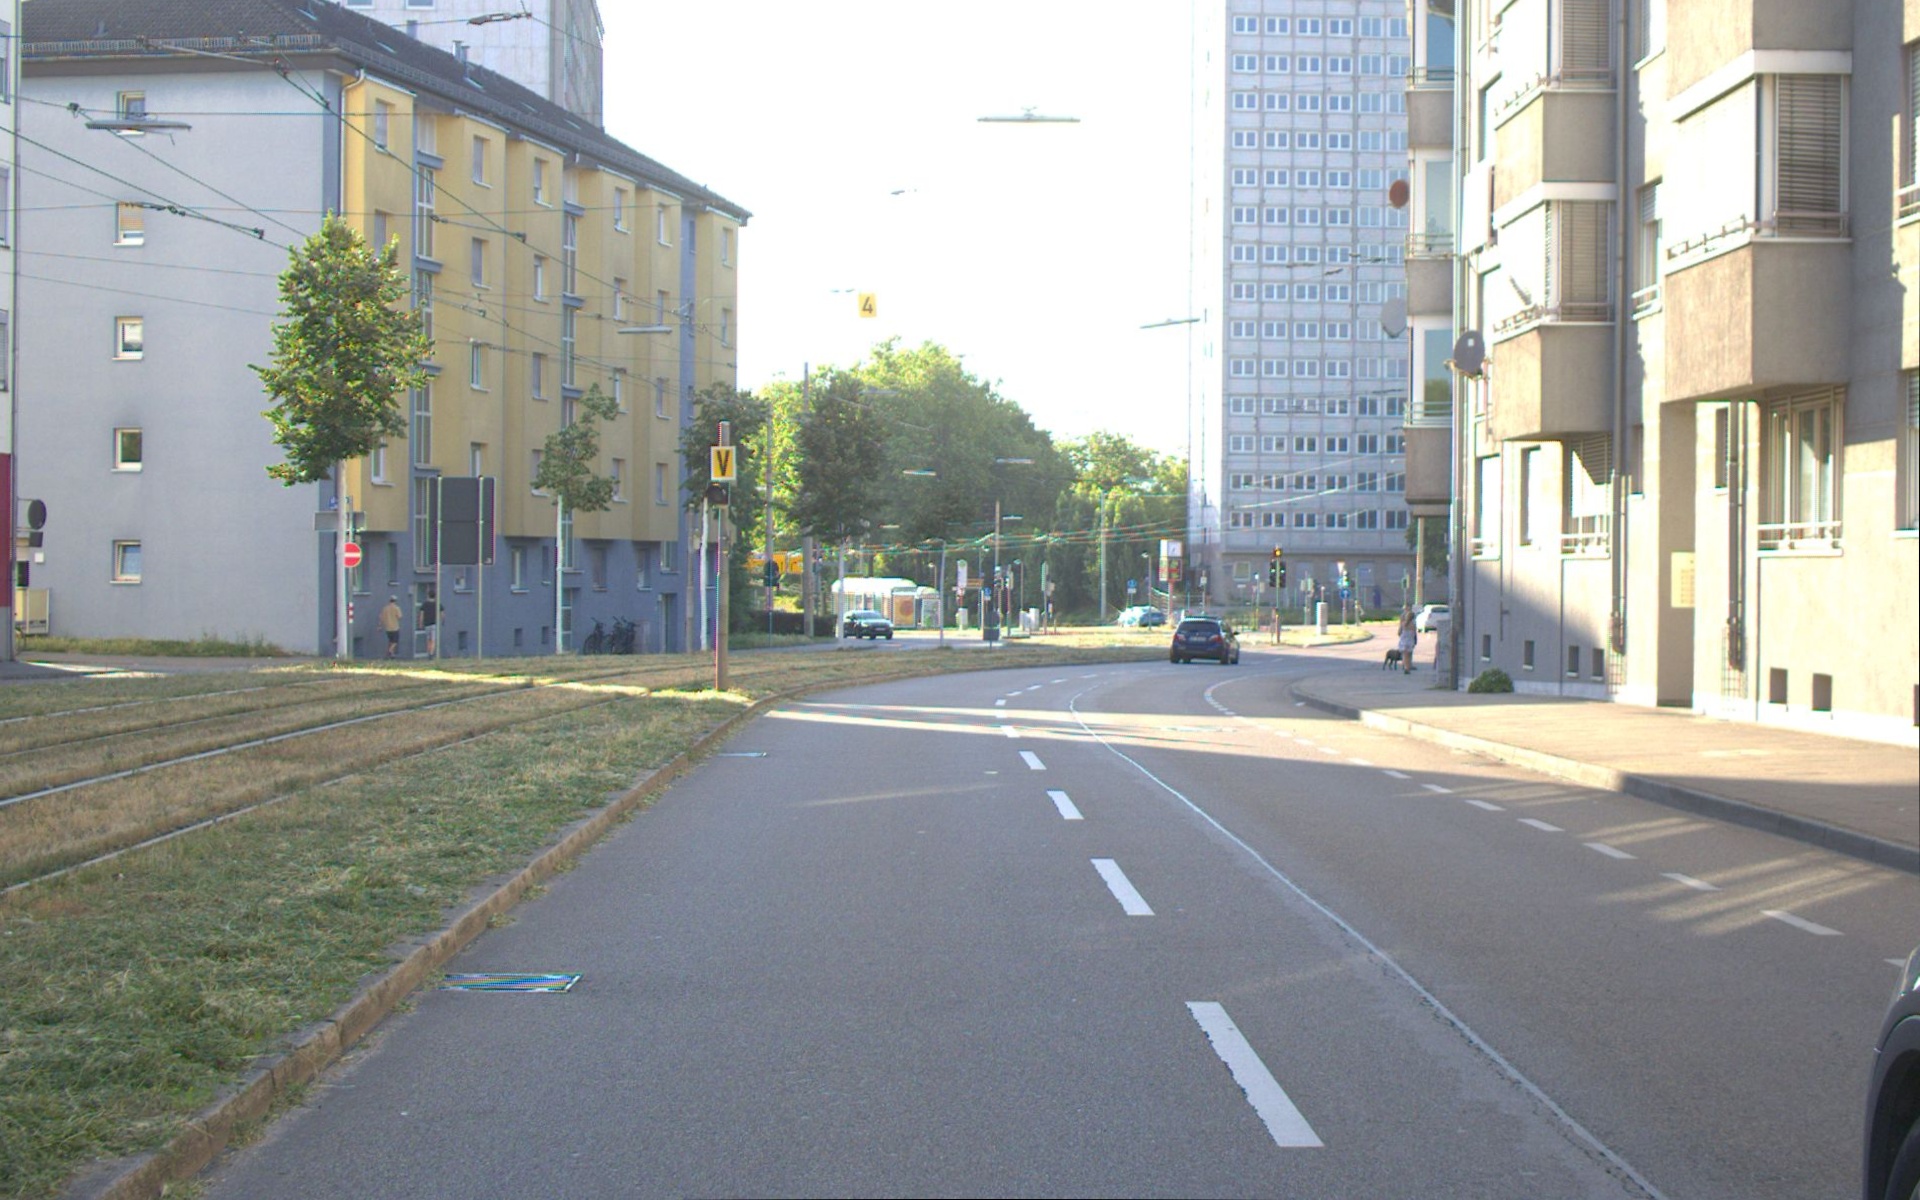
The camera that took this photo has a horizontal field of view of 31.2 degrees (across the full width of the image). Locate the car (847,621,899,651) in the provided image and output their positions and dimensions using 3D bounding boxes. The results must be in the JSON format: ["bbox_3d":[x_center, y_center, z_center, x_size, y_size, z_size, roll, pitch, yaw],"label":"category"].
[{"bbox_3d":[-4.417,1.857,175.791,1.794,1.464,4.794,-2,-1,9],"label":"car"}]

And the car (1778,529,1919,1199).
[{"bbox_3d":[2.309,0.706,3.759,1.766,1.582,4.068,0,1,-1],"label":"car"}]

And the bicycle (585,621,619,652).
[{"bbox_3d":[-10.997,1.119,105.690,0.427,0.922,1.911,4,1,11],"label":"bicycle"}]

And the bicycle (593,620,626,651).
[{"bbox_3d":[-10.907,1.101,106.968,0.427,0.922,1.911,4,1,11],"label":"bicycle"}]

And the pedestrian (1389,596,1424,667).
[{"bbox_3d":[11.277,0.792,86.730,0.830,1.766,0.995,0,0,10],"label":"pedestrian"}]

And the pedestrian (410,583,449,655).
[{"bbox_3d":[-13.472,0.478,87.308,0.593,1.767,0.885,5,1,10],"label":"pedestrian"}]

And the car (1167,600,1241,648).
[{"bbox_3d":[7.524,0.721,105.878,1.773,1.417,3.854,0,0,12],"label":"car"}]

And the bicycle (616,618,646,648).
[{"bbox_3d":[-10.470,1.053,109.370,0.427,0.956,1.911,0,0,11],"label":"bicycle"}]

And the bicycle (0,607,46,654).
[{"bbox_3d":[-22.107,0.702,79.170,1.954,1.072,0.604,0,0,-7],"label":"bicycle"}]

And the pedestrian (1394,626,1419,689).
[{"bbox_3d":[9.558,1.239,73.611,0.514,1.340,0.609,-1,-1,6],"label":"pedestrian"}]

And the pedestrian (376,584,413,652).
[{"bbox_3d":[-14.339,0.454,87.198,0.616,1.689,0.706,5,1,10],"label":"pedestrian"}]

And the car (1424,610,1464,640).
[{"bbox_3d":[25.525,1.286,181.264,1.994,1.525,3.998,0,0,10],"label":"car"}]
